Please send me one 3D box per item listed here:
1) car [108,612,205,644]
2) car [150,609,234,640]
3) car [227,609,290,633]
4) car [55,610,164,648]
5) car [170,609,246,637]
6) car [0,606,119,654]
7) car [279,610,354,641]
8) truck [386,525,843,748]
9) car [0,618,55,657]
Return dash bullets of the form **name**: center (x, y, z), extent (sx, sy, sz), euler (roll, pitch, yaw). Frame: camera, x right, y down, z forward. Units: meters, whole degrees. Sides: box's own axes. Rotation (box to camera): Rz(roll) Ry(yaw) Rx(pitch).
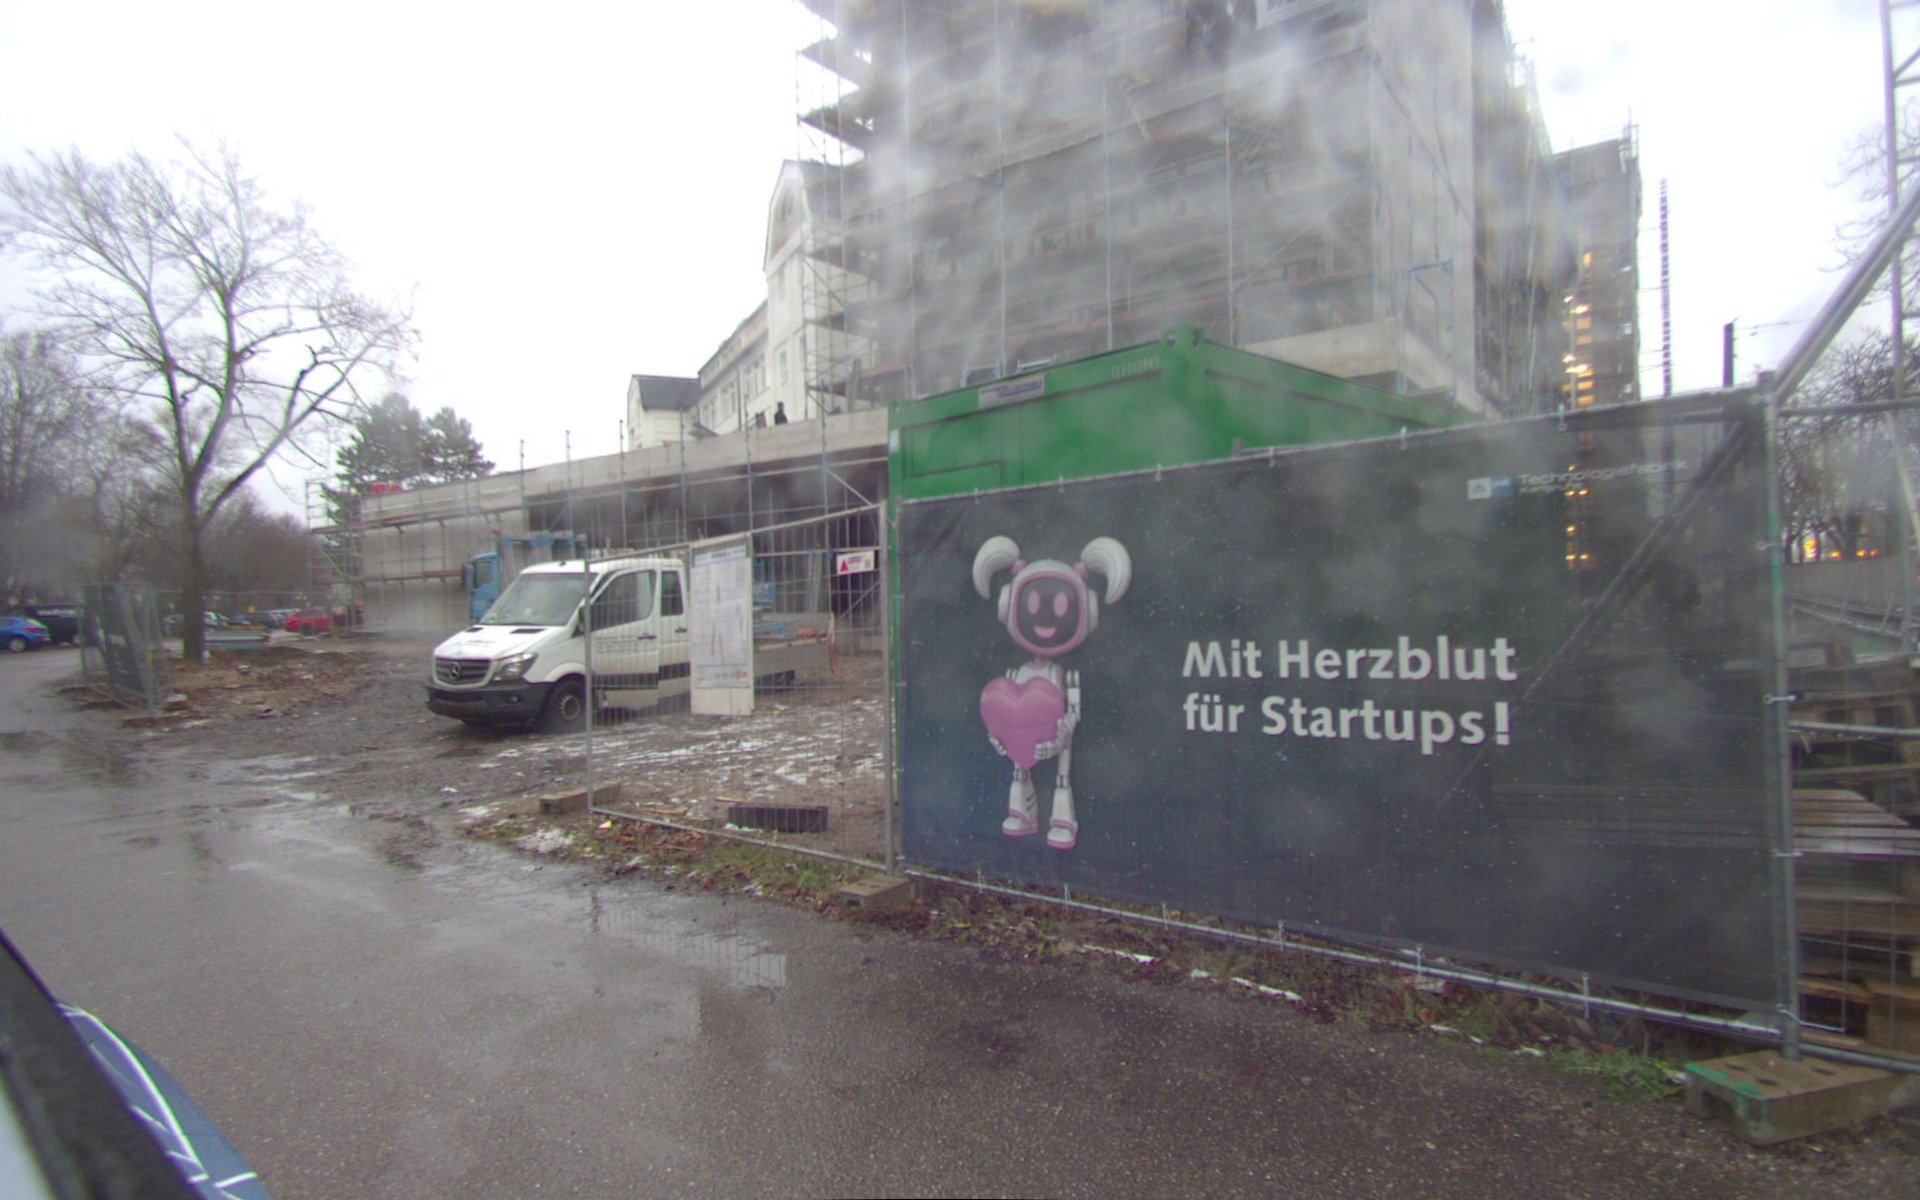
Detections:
- **car**: center (-45.925, 1.569, 57.957), extent (3.930, 1.674, 2.007), euler (-1, 0, -24)
- **car**: center (-48.737, 1.537, 64.282), extent (3.930, 1.809, 1.808), euler (-1, 0, -24)
- **car**: center (-56.503, 1.655, 81.577), extent (3.930, 1.809, 1.808), euler (-1, 0, -24)
- **car**: center (-43.414, 1.469, 51.770), extent (3.930, 1.809, 1.808), euler (-1, 0, -24)
- **car**: center (-52.674, 1.587, 70.953), extent (3.930, 1.809, 1.808), euler (-1, 0, -24)
- **car**: center (-40.453, 1.311, 45.269), extent (3.930, 2.007, 2.007), euler (-1, 0, -24)
- **car**: center (-34.233, 1.318, 53.909), extent (3.252, 1.534, 1.709), euler (-1, 0, -28)
- **truck**: center (-4.688, 0.324, 15.460), extent (2.123, 2.607, 7.014), euler (-1, 2, 28)
- **car**: center (-38.409, 1.511, 39.578), extent (4.109, 1.489, 2.006), euler (-1, -3, -27)
